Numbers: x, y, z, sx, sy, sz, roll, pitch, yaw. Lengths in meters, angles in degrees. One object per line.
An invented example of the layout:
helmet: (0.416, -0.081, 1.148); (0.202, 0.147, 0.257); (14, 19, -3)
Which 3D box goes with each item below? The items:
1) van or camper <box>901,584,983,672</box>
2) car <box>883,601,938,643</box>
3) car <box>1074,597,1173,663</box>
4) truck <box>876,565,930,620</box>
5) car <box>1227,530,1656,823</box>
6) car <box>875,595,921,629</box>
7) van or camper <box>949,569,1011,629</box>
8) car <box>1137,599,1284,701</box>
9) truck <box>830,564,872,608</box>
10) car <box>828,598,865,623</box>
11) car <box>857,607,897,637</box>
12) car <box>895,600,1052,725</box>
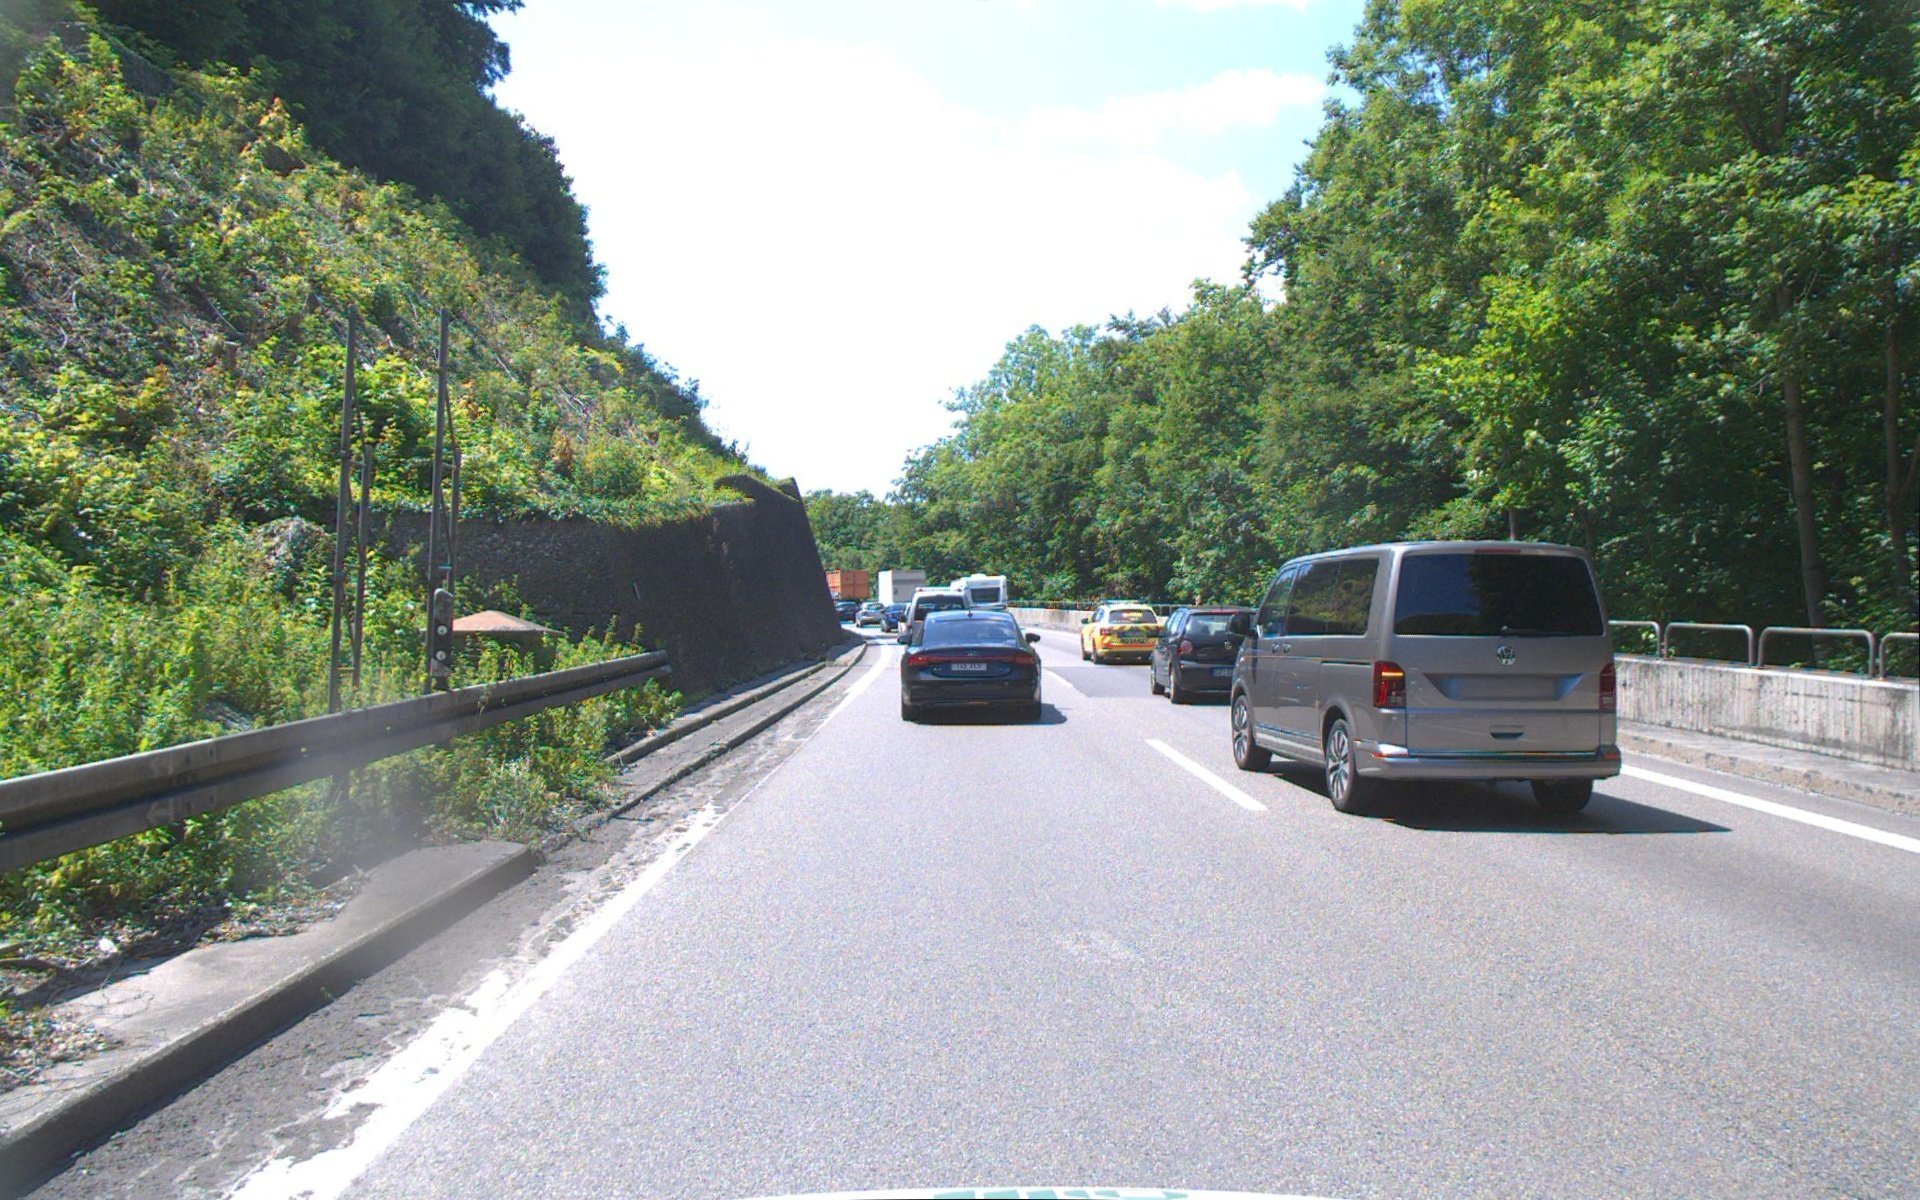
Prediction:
van or camper: (-0.430, 0.655, 40.535); (1.816, 1.976, 4.164); (3, 0, 0)
car: (-2.061, 0.873, 67.990); (1.859, 1.612, 3.764); (1, 0, -8)
car: (4.070, 0.725, 41.737); (1.773, 1.503, 4.078); (3, 0, -4)
truck: (-4.252, -0.565, 121.355); (2.871, 3.751, 7.708); (3, 0, -9)
car: (3.632, 0.511, 13.494); (1.902, 1.965, 4.691); (0, 0, -3)
car: (-3.223, 0.600, 85.085); (1.824, 1.648, 3.991); (-1, 0, -9)
van or camper: (0.953, -0.062, 84.861); (2.553, 2.905, 6.329); (1, 0, -5)
car: (3.892, 0.742, 26.262); (1.651, 1.484, 3.999); (0, 0, -1)
truck: (-9.555, -1.171, 143.906); (3.103, 3.528, 8.209); (3, 0, -7)
car: (-7.741, 0.726, 112.472); (1.723, 1.598, 3.753); (1, 0, -17)
car: (-5.014, 1.297, 99.133); (1.956, 1.646, 3.992); (2, 0, -9)
car: (0.090, 0.780, 22.872); (1.867, 1.515, 4.376); (-1, 0, -3)
